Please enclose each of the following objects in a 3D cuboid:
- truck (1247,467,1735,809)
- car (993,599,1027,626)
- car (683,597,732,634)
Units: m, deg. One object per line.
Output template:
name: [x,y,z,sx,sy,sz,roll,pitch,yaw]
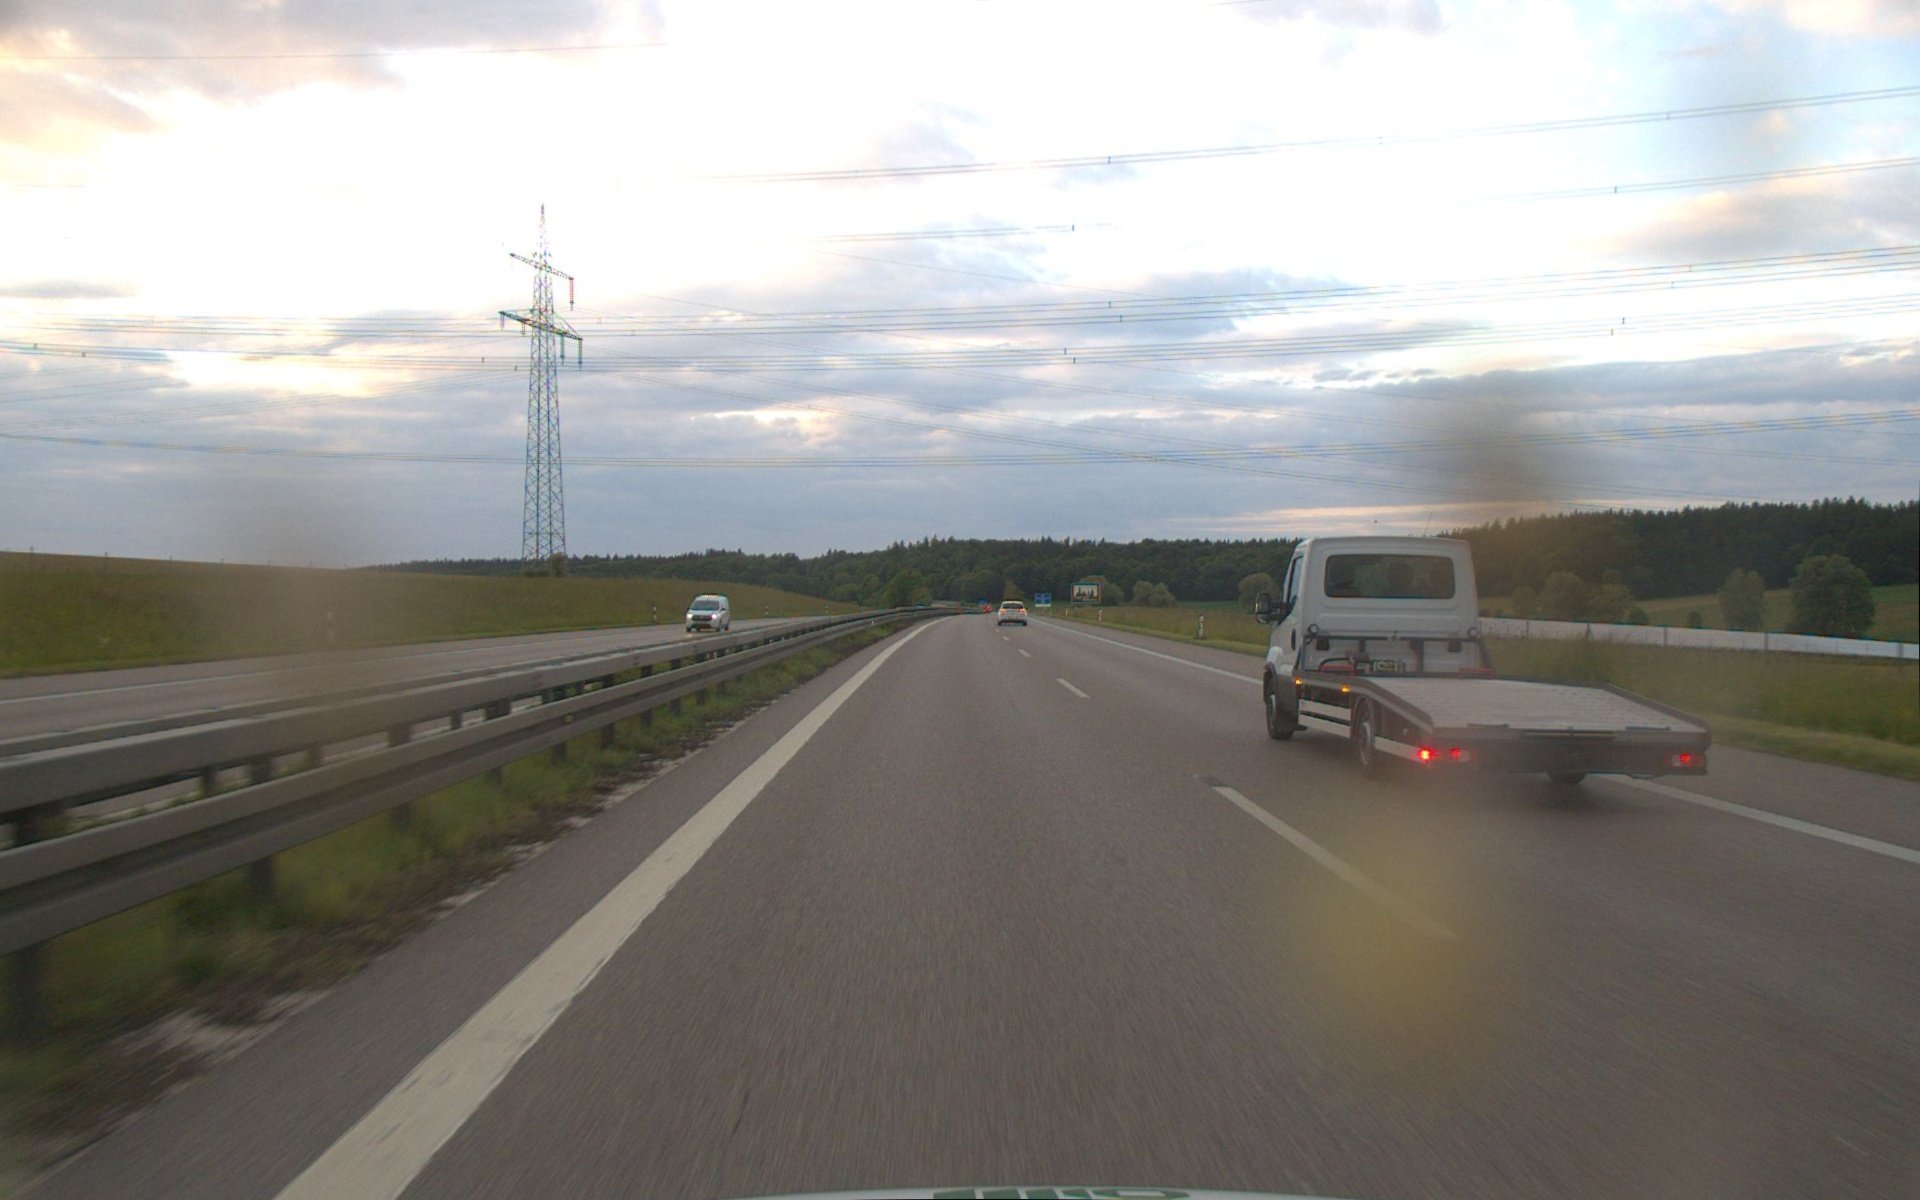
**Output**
truck: [4.498,0.273,15.760,2.127,2.401,7.696,2,0,0]
car: [3.010,0.733,100.867,1.912,1.558,4.080,2,0,0]
car: [-12.692,0.755,83.225,1.724,1.833,4.994,0,0,-1]
